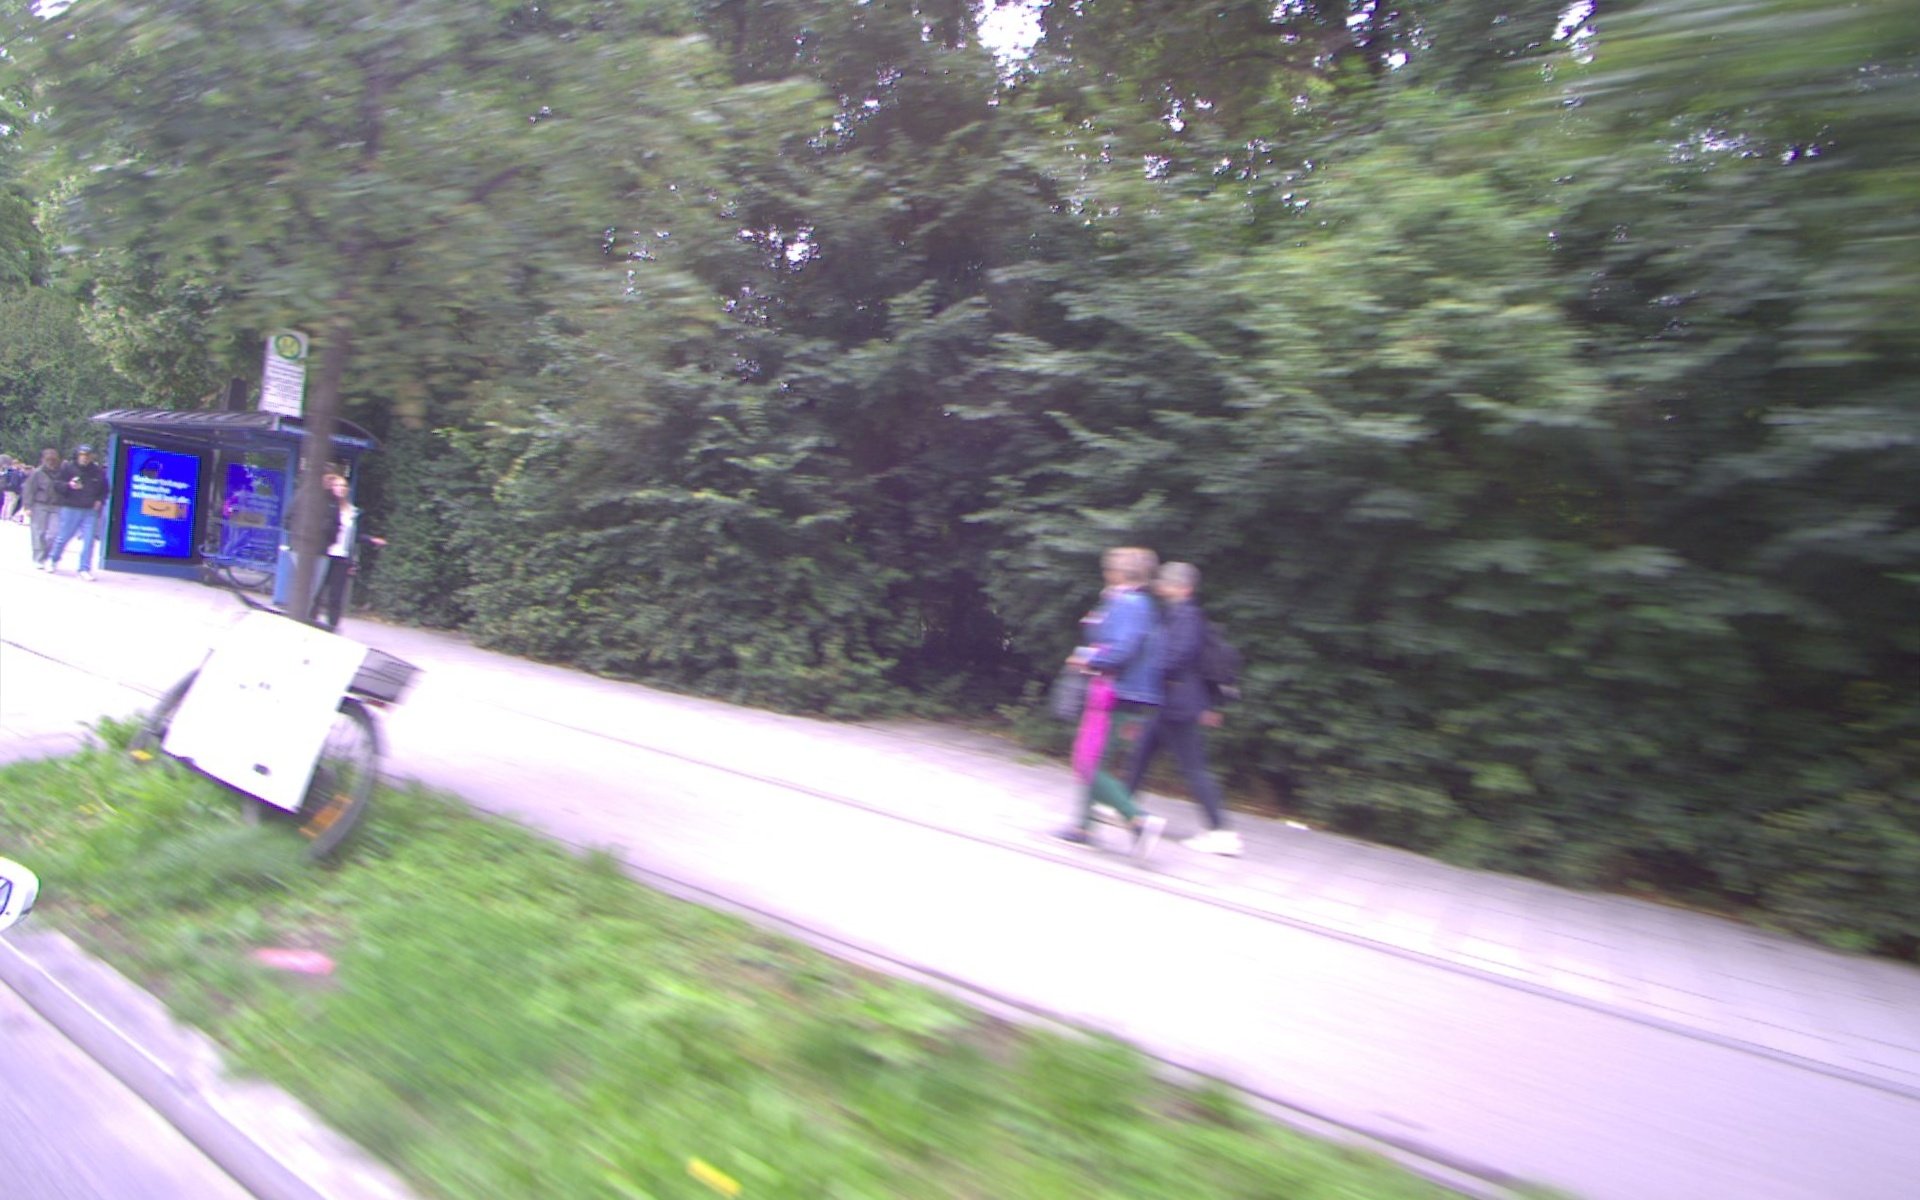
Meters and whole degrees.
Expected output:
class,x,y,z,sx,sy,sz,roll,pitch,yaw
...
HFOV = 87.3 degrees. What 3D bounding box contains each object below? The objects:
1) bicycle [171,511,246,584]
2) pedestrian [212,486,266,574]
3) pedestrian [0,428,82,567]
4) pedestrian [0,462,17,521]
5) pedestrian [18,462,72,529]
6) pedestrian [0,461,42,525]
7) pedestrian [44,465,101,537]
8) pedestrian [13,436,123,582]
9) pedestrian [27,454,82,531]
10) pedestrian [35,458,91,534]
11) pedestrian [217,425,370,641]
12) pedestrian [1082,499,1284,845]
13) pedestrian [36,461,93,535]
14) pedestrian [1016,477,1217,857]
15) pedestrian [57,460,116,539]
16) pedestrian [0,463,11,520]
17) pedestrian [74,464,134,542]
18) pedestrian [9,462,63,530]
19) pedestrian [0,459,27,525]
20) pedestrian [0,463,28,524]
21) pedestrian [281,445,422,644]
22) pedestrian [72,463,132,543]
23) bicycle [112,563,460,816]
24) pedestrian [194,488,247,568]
class,x,y,z,sx,sy,sz,roll,pitch,yaw
bicycle,-12.950,-0.913,17.322,1.550,1.073,0.393,7,0,32
pedestrian,-15.601,-1.510,21.772,0.524,1.789,0.637,7,0,34
pedestrian,-13.147,-1.445,14.274,0.628,1.830,0.709,7,-1,31
pedestrian,-28.901,-3.282,30.062,0.717,1.712,0.812,7,2,34
pedestrian,-25.464,-2.902,27.994,0.717,1.711,0.813,7,-1,34
pedestrian,-26.845,-3.045,28.640,0.717,1.712,0.812,7,2,34
pedestrian,-23.130,-2.579,26.220,0.663,1.711,0.813,7,-1,34
pedestrian,-12.084,-1.228,13.637,0.934,1.830,0.709,7,-1,31
pedestrian,-24.843,-2.945,27.605,0.717,1.939,0.813,7,-1,34
pedestrian,-24.242,-2.813,27.201,0.717,1.896,0.813,7,-1,34
pedestrian,-6.460,-0.645,9.752,0.940,1.938,0.709,7,-1,31
pedestrian,1.337,0.405,5.974,0.744,1.860,0.752,7,-1,32
pedestrian,-23.707,-2.691,26.626,0.717,1.811,0.813,7,-1,34
pedestrian,0.851,0.338,5.397,0.630,1.860,0.672,7,0,32
pedestrian,-22.485,-2.590,25.902,0.717,1.873,0.813,7,-1,34
pedestrian,-29.667,-3.362,30.656,0.717,1.711,0.813,7,-1,34
pedestrian,-21.233,-2.405,24.967,0.717,1.789,0.813,7,-1,34
pedestrian,-26.081,-2.928,28.393,0.717,1.760,0.813,7,-1,34
pedestrian,-26.149,-2.962,27.545,0.717,1.711,0.592,7,-1,34
pedestrian,-28.230,-3.164,29.682,0.717,1.711,0.812,7,1,34
pedestrian,-6.374,-0.577,10.541,0.940,1.938,0.709,7,-1,31
pedestrian,-21.794,-2.458,25.557,0.717,1.873,0.813,7,-1,34
bicycle,-3.042,0.340,4.468,1.858,0.803,0.494,7,-1,32
pedestrian,-16.248,-1.581,22.104,0.524,1.646,0.637,7,-1,34
